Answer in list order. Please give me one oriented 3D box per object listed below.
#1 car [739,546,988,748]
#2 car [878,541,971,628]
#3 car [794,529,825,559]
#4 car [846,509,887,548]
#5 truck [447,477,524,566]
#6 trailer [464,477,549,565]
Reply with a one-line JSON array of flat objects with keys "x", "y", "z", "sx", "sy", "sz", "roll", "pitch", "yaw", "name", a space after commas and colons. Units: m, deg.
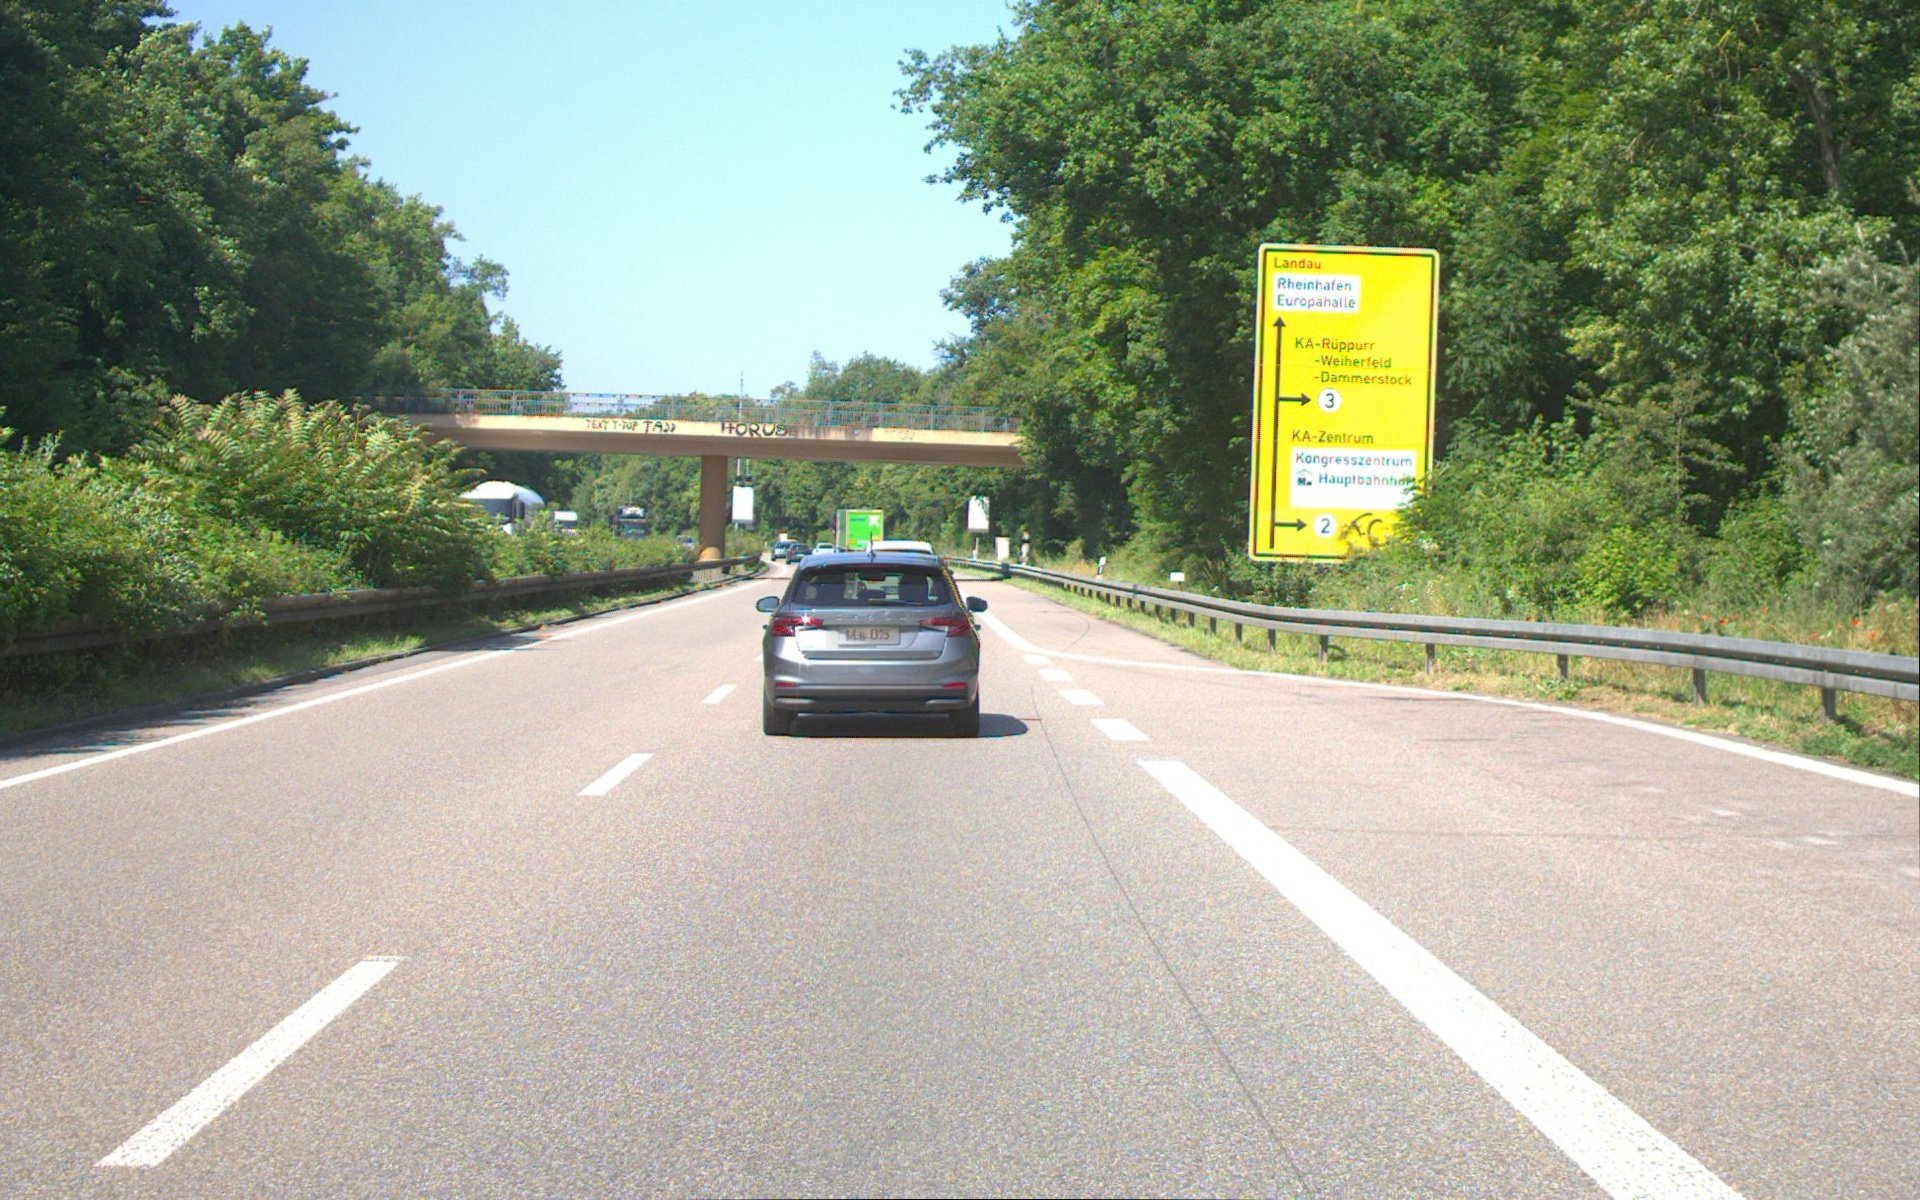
[{"x": -0.712, "y": 0.329, "z": 27.734, "sx": 1.840, "sy": 1.467, "sz": 3.623, "roll": 1, "pitch": 1, "yaw": 1, "name": "car"}, {"x": -0.601, "y": -0.298, "z": 60.393, "sx": 1.522, "sy": 1.441, "sz": 3.340, "roll": 1, "pitch": 1, "yaw": 1, "name": "car"}, {"x": -10.452, "y": -3.898, "z": 238.998, "sx": 1.993, "sy": 2.007, "sz": 4.000, "roll": 1, "pitch": 1, "yaw": -1, "name": "car"}, {"x": -6.499, "y": -4.991, "z": 239.785, "sx": 2.748, "sy": 2.645, "sz": 4.000, "roll": 1, "pitch": 1, "yaw": -1, "name": "car"}, {"x": -18.085, "y": -2.978, "z": 131.184, "sx": 2.338, "sy": 3.330, "sz": 4.542, "roll": 1, "pitch": 1, "yaw": -1, "name": "truck"}, {"x": -18.121, "y": -3.137, "z": 137.934, "sx": 1.993, "sy": 3.390, "sz": 11.420, "roll": 1, "pitch": 1, "yaw": -1, "name": "trailer"}]
